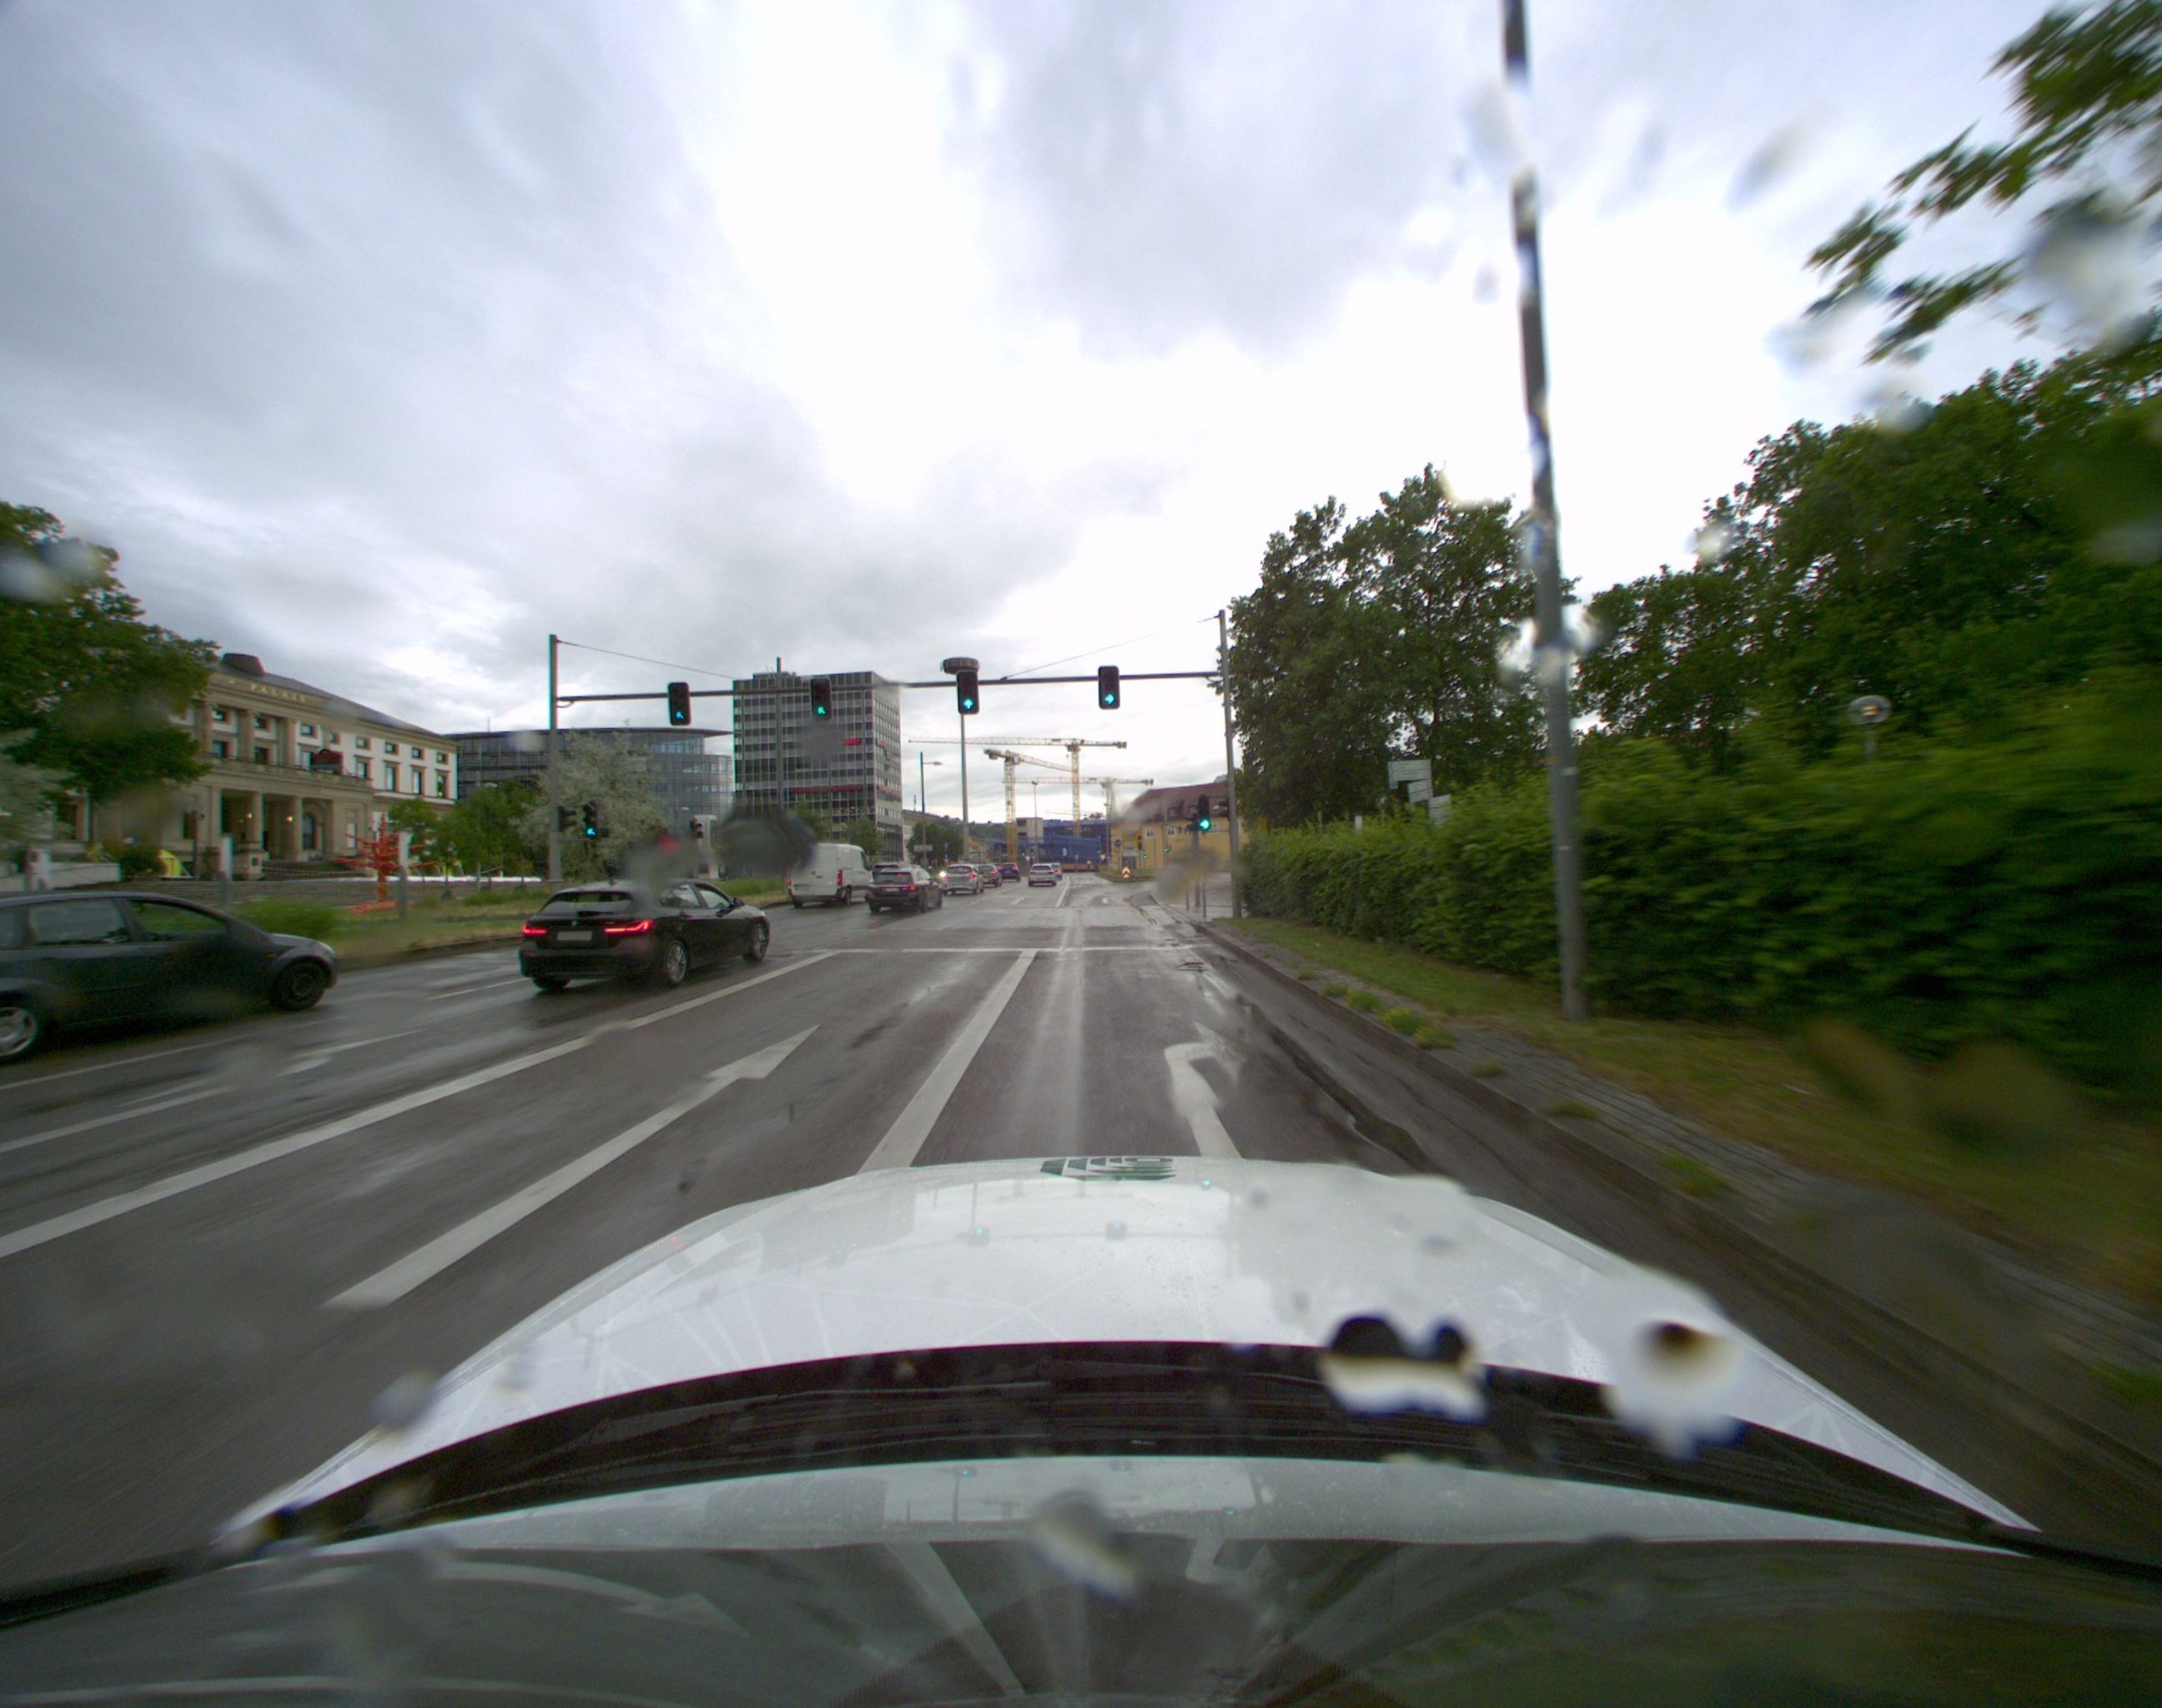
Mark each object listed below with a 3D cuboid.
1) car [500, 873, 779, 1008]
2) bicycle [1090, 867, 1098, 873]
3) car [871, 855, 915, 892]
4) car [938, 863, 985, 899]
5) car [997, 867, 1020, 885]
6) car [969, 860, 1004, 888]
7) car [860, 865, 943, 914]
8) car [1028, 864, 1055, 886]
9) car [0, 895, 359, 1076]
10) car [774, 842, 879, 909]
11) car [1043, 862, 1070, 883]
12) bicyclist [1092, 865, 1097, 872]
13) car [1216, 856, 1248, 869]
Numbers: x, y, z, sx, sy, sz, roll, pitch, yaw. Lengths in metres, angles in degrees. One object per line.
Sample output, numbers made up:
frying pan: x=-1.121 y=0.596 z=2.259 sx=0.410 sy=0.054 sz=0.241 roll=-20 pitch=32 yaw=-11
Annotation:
car: x=-6.091 y=1.091 z=11.913 sx=1.748 sy=1.471 sz=4.221 roll=-1 pitch=0 yaw=0
bicycle: x=2.284 y=2.750 z=143.290 sx=0.882 sy=1.010 sz=1.982 roll=-1 pitch=-2 yaw=-14
car: x=-9.293 y=0.972 z=40.431 sx=1.460 sy=1.706 sz=3.139 roll=-1 pitch=-2 yaw=-1
car: x=-5.876 y=1.348 z=40.468 sx=1.875 sy=1.653 sz=3.455 roll=-1 pitch=-2 yaw=-2
car: x=-5.868 y=1.779 z=66.217 sx=1.488 sy=1.369 sz=3.033 roll=-1 pitch=-2 yaw=1
car: x=-5.996 y=1.296 z=52.047 sx=1.710 sy=1.727 sz=3.494 roll=-1 pitch=-2 yaw=1
car: x=-5.916 y=1.148 z=27.207 sx=1.822 sy=1.495 sz=3.401 roll=-1 pitch=-2 yaw=3
car: x=-2.509 y=1.352 z=52.130 sx=1.438 sy=1.359 sz=2.414 roll=-1 pitch=-2 yaw=4
car: x=-9.659 y=1.169 z=8.032 sx=1.537 sy=1.415 sz=3.901 roll=-1 pitch=-2 yaw=1
car: x=-9.627 y=0.841 z=31.324 sx=2.284 sy=2.314 sz=5.007 roll=-1 pitch=-2 yaw=2
car: x=-2.180 y=1.662 z=73.100 sx=1.656 sy=1.741 sz=3.298 roll=-1 pitch=1 yaw=11
bicyclist: x=2.417 y=2.594 z=143.041 sx=0.705 sy=1.275 sz=0.631 roll=-1 pitch=-2 yaw=-15
car: x=18.445 y=1.050 z=99.637 sx=3.370 sy=1.482 sz=1.846 roll=-2 pitch=-2 yaw=26
